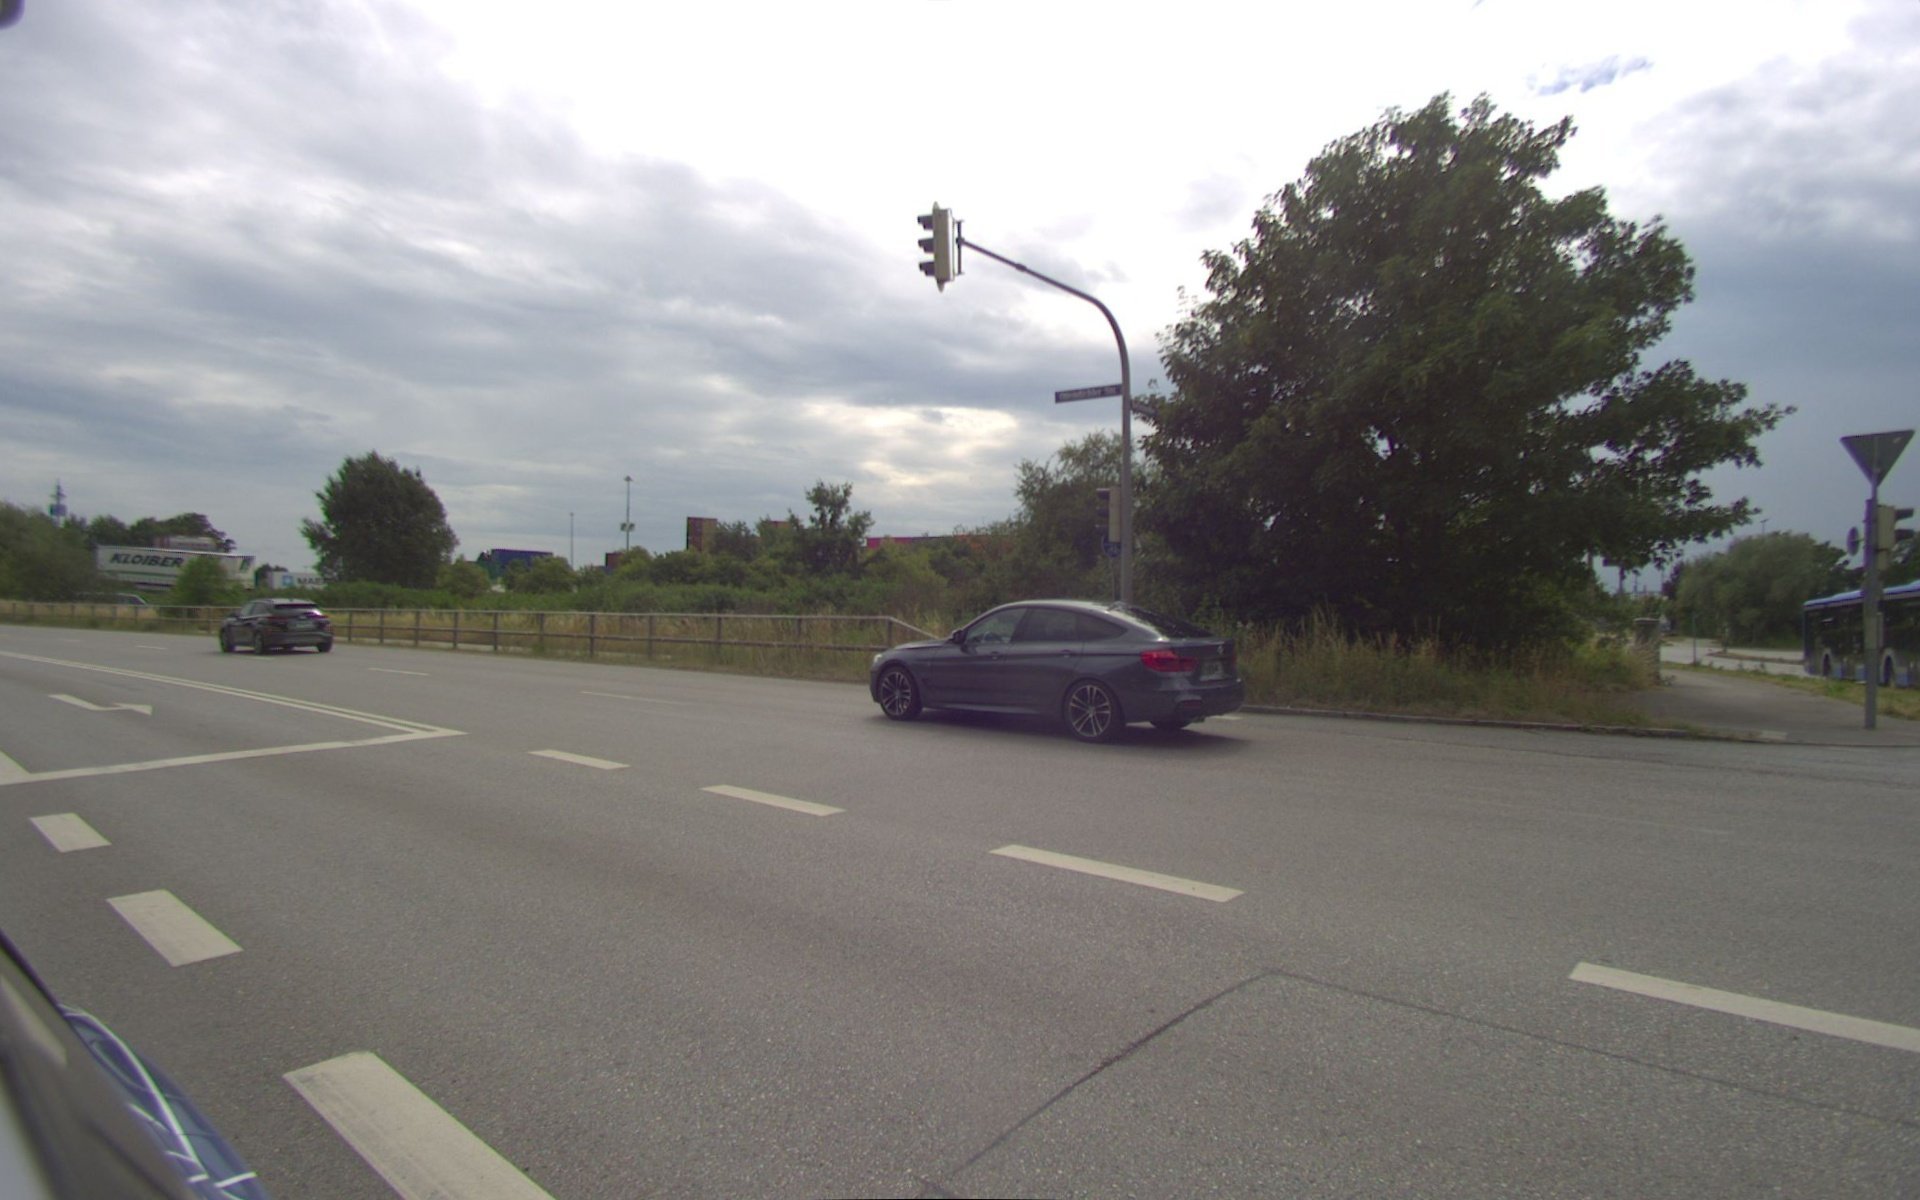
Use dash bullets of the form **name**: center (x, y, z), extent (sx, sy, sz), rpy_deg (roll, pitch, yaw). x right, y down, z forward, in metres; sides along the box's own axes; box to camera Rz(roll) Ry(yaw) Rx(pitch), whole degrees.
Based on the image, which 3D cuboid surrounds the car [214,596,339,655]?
- **car**: center (-19.753, 0.708, 29.196), extent (3.993, 1.585, 1.775), rpy_deg (0, -1, 37)

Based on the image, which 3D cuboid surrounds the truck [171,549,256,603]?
- **truck**: center (-71.577, -2.331, 97.127), extent (6.104, 5.034, 2.804), rpy_deg (0, 1, 1)

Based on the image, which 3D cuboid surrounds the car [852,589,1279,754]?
- **car**: center (1.020, 0.696, 11.813), extent (4.904, 1.541, 1.768), rpy_deg (0, -1, 43)

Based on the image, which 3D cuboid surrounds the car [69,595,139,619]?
- **car**: center (-72.122, 0.571, 85.353), extent (4.473, 1.890, 2.004), rpy_deg (0, 1, -39)

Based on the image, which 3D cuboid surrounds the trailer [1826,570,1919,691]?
- **trailer**: center (27.792, 0.826, 28.780), extent (2.876, 3.060, 10.643), rpy_deg (-1, -2, 30)

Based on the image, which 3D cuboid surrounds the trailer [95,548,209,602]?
- **trailer**: center (-77.540, -2.387, 97.230), extent (8.859, 5.034, 2.807), rpy_deg (0, 1, 1)

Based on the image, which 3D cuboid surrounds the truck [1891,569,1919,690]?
- **truck**: center (24.634, 0.700, 23.388), extent (2.876, 3.060, 7.859), rpy_deg (-1, -2, 30)
